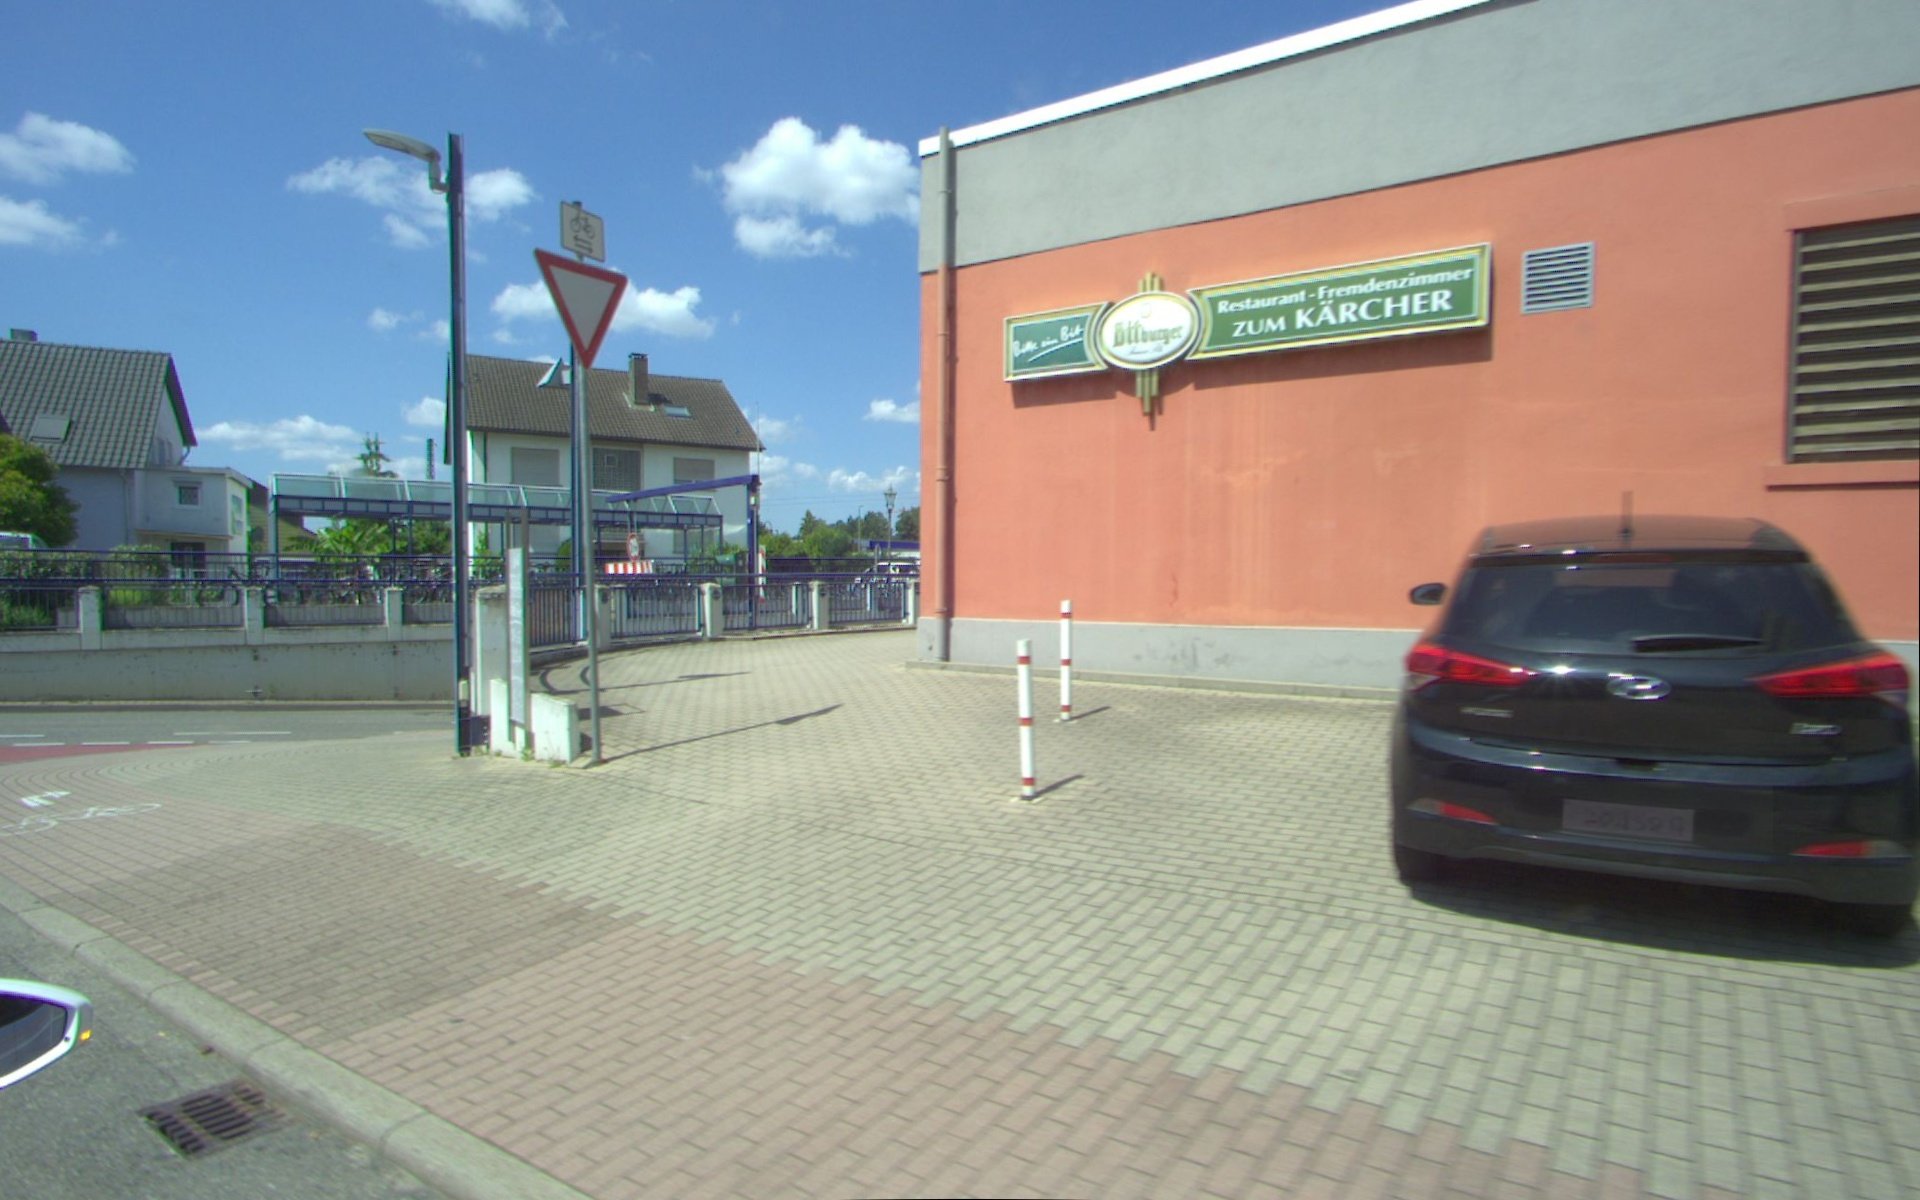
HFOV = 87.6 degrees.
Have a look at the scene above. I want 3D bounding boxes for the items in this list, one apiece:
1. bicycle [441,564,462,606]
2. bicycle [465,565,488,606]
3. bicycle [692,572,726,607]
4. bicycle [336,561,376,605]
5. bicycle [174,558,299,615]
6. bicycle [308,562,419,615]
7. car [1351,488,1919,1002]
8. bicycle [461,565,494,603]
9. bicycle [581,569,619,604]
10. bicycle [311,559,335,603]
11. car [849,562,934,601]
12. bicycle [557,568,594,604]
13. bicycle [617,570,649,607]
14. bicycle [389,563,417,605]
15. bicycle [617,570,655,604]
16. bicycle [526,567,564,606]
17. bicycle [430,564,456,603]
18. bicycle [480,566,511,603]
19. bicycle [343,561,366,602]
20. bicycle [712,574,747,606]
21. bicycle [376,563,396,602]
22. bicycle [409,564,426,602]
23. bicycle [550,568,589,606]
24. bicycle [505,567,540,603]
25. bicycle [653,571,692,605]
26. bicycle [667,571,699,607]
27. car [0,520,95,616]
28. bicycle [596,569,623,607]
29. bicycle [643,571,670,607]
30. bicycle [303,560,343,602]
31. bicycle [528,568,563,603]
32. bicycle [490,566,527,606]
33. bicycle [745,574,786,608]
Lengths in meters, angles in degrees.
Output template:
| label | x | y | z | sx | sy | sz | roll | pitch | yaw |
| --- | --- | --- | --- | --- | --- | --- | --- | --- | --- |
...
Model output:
| label | x | y | z | sx | sy | sz | roll | pitch | yaw |
| --- | --- | --- | --- | --- | --- | --- | --- | --- | --- |
| bicycle | -13.088 | -0.386 | 25.762 | 0.430 | 1.008 | 2.269 | 0 | 1 | -28 |
| bicycle | -12.606 | -0.379 | 26.081 | 0.430 | 1.008 | 2.269 | 0 | 1 | -28 |
| bicycle | -7.527 | -0.309 | 29.931 | 0.537 | 1.008 | 2.029 | 1 | 1 | -27 |
| bicycle | -14.575 | -0.404 | 24.182 | 0.429 | 1.008 | 2.096 | 1 | 1 | -20 |
| bicycle | -15.090 | -0.259 | 20.927 | 2.097 | 1.141 | 0.330 | 1 | 1 | -38 |
| bicycle | -13.286 | -0.234 | 22.335 | 2.097 | 1.141 | 0.389 | 1 | 1 | -38 |
| car | 3.232 | 0.277 | 5.032 | 1.783 | 1.512 | 3.884 | 0 | 6 | 30 |
| bicycle | -13.491 | -0.443 | 27.973 | 0.469 | 1.008 | 1.951 | 0 | 1 | -36 |
| bicycle | -10.752 | -0.404 | 29.857 | 0.514 | 1.008 | 1.951 | 0 | 1 | -36 |
| bicycle | -15.365 | -0.452 | 24.151 | 0.329 | 1.008 | 2.059 | 0 | 1 | -37 |
| car | -3.195 | -0.868 | 46.284 | 1.978 | 1.700 | 3.964 | 0 | 1 | -40 |
| bicycle | -11.293 | -0.411 | 29.360 | 0.514 | 1.008 | 1.951 | 0 | 1 | -36 |
| bicycle | -9.373 | -0.336 | 28.664 | 0.510 | 1.008 | 2.028 | 0 | 1 | -29 |
| bicycle | -13.848 | -0.395 | 24.917 | 0.430 | 1.008 | 2.093 | 1 | 1 | -25 |
| bicycle | -9.944 | -0.395 | 30.728 | 0.514 | 1.008 | 1.951 | 0 | 1 | -36 |
| bicycle | -11.272 | -0.362 | 27.185 | 0.527 | 1.008 | 2.173 | 0 | 1 | -34 |
| bicycle | -14.244 | -0.454 | 27.586 | 0.422 | 1.008 | 1.953 | 0 | 1 | -33 |
| bicycle | -13.103 | -0.437 | 28.244 | 0.410 | 1.008 | 1.951 | 0 | 1 | -36 |
| bicycle | -15.753 | -0.473 | 26.062 | 0.368 | 1.008 | 1.956 | 0 | 1 | -27 |
| bicycle | -7.470 | -0.325 | 32.364 | 0.538 | 1.008 | 2.027 | 0 | 1 | -30 |
| bicycle | -15.369 | -0.471 | 26.826 | 0.368 | 1.008 | 1.956 | 0 | 1 | -27 |
| bicycle | -14.672 | -0.459 | 27.089 | 0.368 | 1.008 | 1.956 | 0 | 1 | -27 |
| bicycle | -10.851 | -0.358 | 27.776 | 0.527 | 1.008 | 2.173 | 0 | 1 | -34 |
| bicycle | -12.550 | -0.430 | 28.691 | 0.514 | 1.008 | 1.951 | 0 | 1 | -36 |
| bicycle | -9.020 | -0.382 | 31.380 | 0.514 | 1.008 | 1.951 | 0 | 1 | -36 |
| bicycle | -8.155 | -0.318 | 29.415 | 0.509 | 1.008 | 2.029 | 1 | 1 | -27 |
| car | -20.262 | -0.638 | 21.343 | 1.973 | 1.819 | 4.174 | 4 | -3 | -31 |
| bicycle | -9.787 | -0.339 | 27.947 | 0.571 | 1.008 | 2.180 | 1 | 1 | -23 |
| bicycle | -8.836 | -0.329 | 29.108 | 0.509 | 1.008 | 2.031 | 1 | 1 | -24 |
| bicycle | -16.231 | -0.478 | 25.545 | 0.449 | 1.008 | 1.882 | 1 | 1 | -20 |
| bicycle | -12.086 | -0.425 | 29.191 | 0.514 | 1.008 | 1.788 | 0 | 1 | -36 |
| bicycle | -11.939 | -0.369 | 26.453 | 0.527 | 1.008 | 2.265 | 0 | 1 | -34 |
| bicycle | -6.089 | -0.291 | 31.212 | 0.538 | 1.008 | 2.026 | 0 | 1 | -33 |
